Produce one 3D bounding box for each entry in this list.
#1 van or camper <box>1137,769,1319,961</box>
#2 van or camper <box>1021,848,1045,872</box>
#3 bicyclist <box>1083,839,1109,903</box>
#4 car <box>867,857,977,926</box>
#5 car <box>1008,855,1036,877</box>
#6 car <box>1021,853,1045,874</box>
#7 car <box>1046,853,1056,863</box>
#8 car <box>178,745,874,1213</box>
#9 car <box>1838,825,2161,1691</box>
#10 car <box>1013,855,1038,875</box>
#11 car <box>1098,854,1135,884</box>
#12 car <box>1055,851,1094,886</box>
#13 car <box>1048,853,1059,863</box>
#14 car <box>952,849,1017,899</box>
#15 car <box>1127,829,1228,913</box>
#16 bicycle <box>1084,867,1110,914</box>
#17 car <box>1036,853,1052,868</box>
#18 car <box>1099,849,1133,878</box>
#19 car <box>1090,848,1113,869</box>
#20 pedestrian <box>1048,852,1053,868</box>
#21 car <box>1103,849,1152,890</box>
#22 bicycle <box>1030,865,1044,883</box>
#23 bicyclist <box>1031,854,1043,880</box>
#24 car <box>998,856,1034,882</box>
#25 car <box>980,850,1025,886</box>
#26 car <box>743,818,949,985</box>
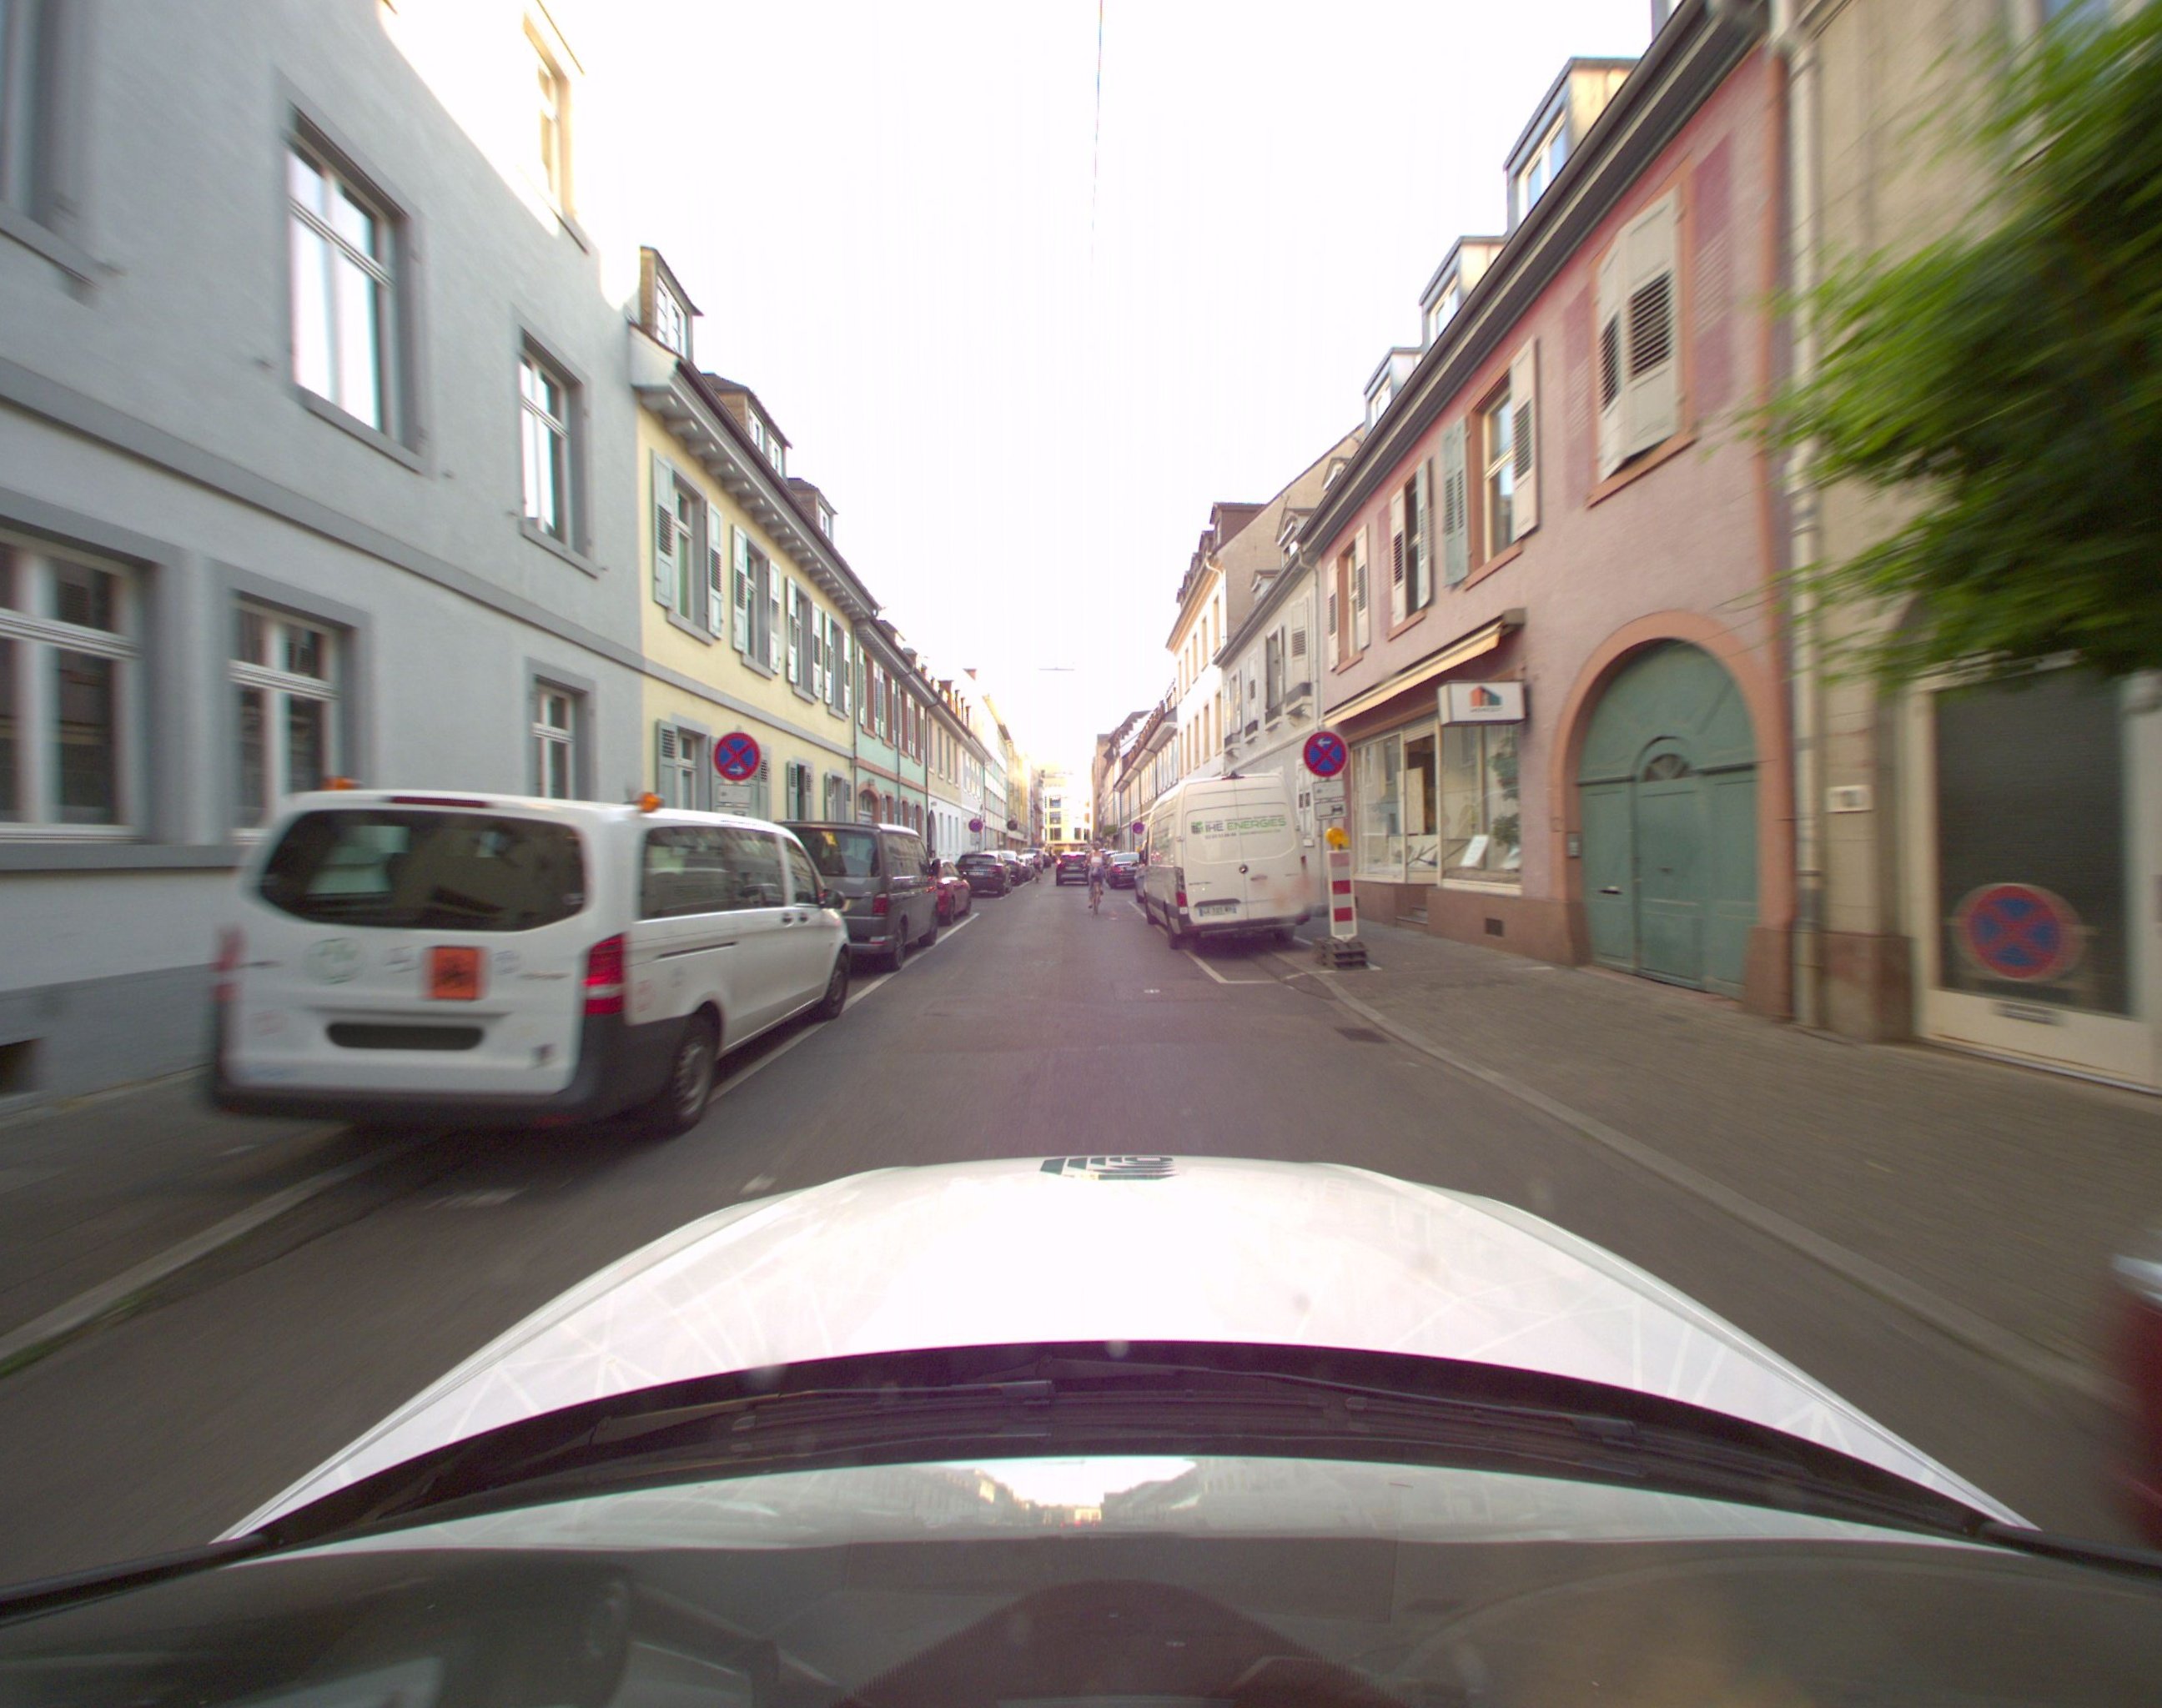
[{"bbox_3d":[2.289,0.146,14.870,2.043,2.637,7.062,-1,0,0],"label":"van or camper"},{"bbox_3d":[-4.078,0.519,70.097,1.839,2.013,4.676,0,0,-1],"label":"van or camper"},{"bbox_3d":[0.378,0.420,20.486,0.619,1.574,0.683,0,0,0],"label":"bicyclist"},{"bbox_3d":[-3.573,0.790,19.065,1.759,1.401,4.262,0,0,0],"label":"car"},{"bbox_3d":[-3.884,0.748,54.186,1.648,1.411,3.901,0,0,-1],"label":"car"},{"bbox_3d":[-3.773,0.739,64.258,1.648,1.561,3.604,0,0,-1],"label":"car"},{"bbox_3d":[-4.851,0.689,132.123,1.648,1.561,3.604,0,0,-1],"label":"car"},{"bbox_3d":[-3.075,0.533,6.142,1.858,2.013,5.102,-1,0,-2],"label":"car"},{"bbox_3d":[2.758,0.689,0.147,1.651,1.505,3.749,-1,0,-3],"label":"car"},{"bbox_3d":[-4.003,0.775,59.273,1.648,1.411,3.604,0,0,-1],"label":"car"},{"bbox_3d":[1.802,0.728,42.462,1.671,1.486,3.999,0,0,-1],"label":"car"},{"bbox_3d":[-0.350,0.679,39.980,1.814,1.618,3.998,0,0,-1],"label":"car"},{"bbox_3d":[-4.683,0.700,138.896,1.648,1.561,3.604,0,0,-1],"label":"car"},{"bbox_3d":[-3.495,0.677,30.175,1.797,1.676,4.490,-1,0,1],"label":"car"},{"bbox_3d":[2.469,0.418,22.235,1.936,1.894,5.314,-4,0,-1],"label":"car"},{"bbox_3d":[0.387,0.895,20.542,0.611,1.082,1.809,0,0,0],"label":"bicycle"},{"bbox_3d":[-3.923,0.718,86.779,1.648,1.561,3.604,0,0,-1],"label":"car"},{"bbox_3d":[2.205,0.597,52.607,1.913,1.738,4.150,0,0,-2],"label":"car"},{"bbox_3d":[1.618,0.351,64.815,1.648,1.561,3.604,0,0,-1],"label":"car"},{"bbox_3d":[-3.423,0.663,90.453,0.552,1.752,0.567,0,0,-4],"label":"pedestrian"},{"bbox_3d":[1.950,0.640,35.371,1.813,1.530,5.071,-4,0,1],"label":"car"},{"bbox_3d":[-2.391,1.088,44.345,0.611,0.932,1.886,0,0,1],"label":"bicycle"},{"bbox_3d":[-2.392,0.700,44.422,0.604,1.369,0.621,0,0,-1],"label":"bicyclist"},{"bbox_3d":[-3.756,0.838,47.778,1.913,1.434,4.289,0,0,-3],"label":"car"},{"bbox_3d":[-3.924,0.693,41.248,1.993,1.707,4.532,0,0,-2],"label":"car"},{"bbox_3d":[-3.272,0.575,12.392,1.858,2.013,4.810,-1,0,-2],"label":"car"}]
